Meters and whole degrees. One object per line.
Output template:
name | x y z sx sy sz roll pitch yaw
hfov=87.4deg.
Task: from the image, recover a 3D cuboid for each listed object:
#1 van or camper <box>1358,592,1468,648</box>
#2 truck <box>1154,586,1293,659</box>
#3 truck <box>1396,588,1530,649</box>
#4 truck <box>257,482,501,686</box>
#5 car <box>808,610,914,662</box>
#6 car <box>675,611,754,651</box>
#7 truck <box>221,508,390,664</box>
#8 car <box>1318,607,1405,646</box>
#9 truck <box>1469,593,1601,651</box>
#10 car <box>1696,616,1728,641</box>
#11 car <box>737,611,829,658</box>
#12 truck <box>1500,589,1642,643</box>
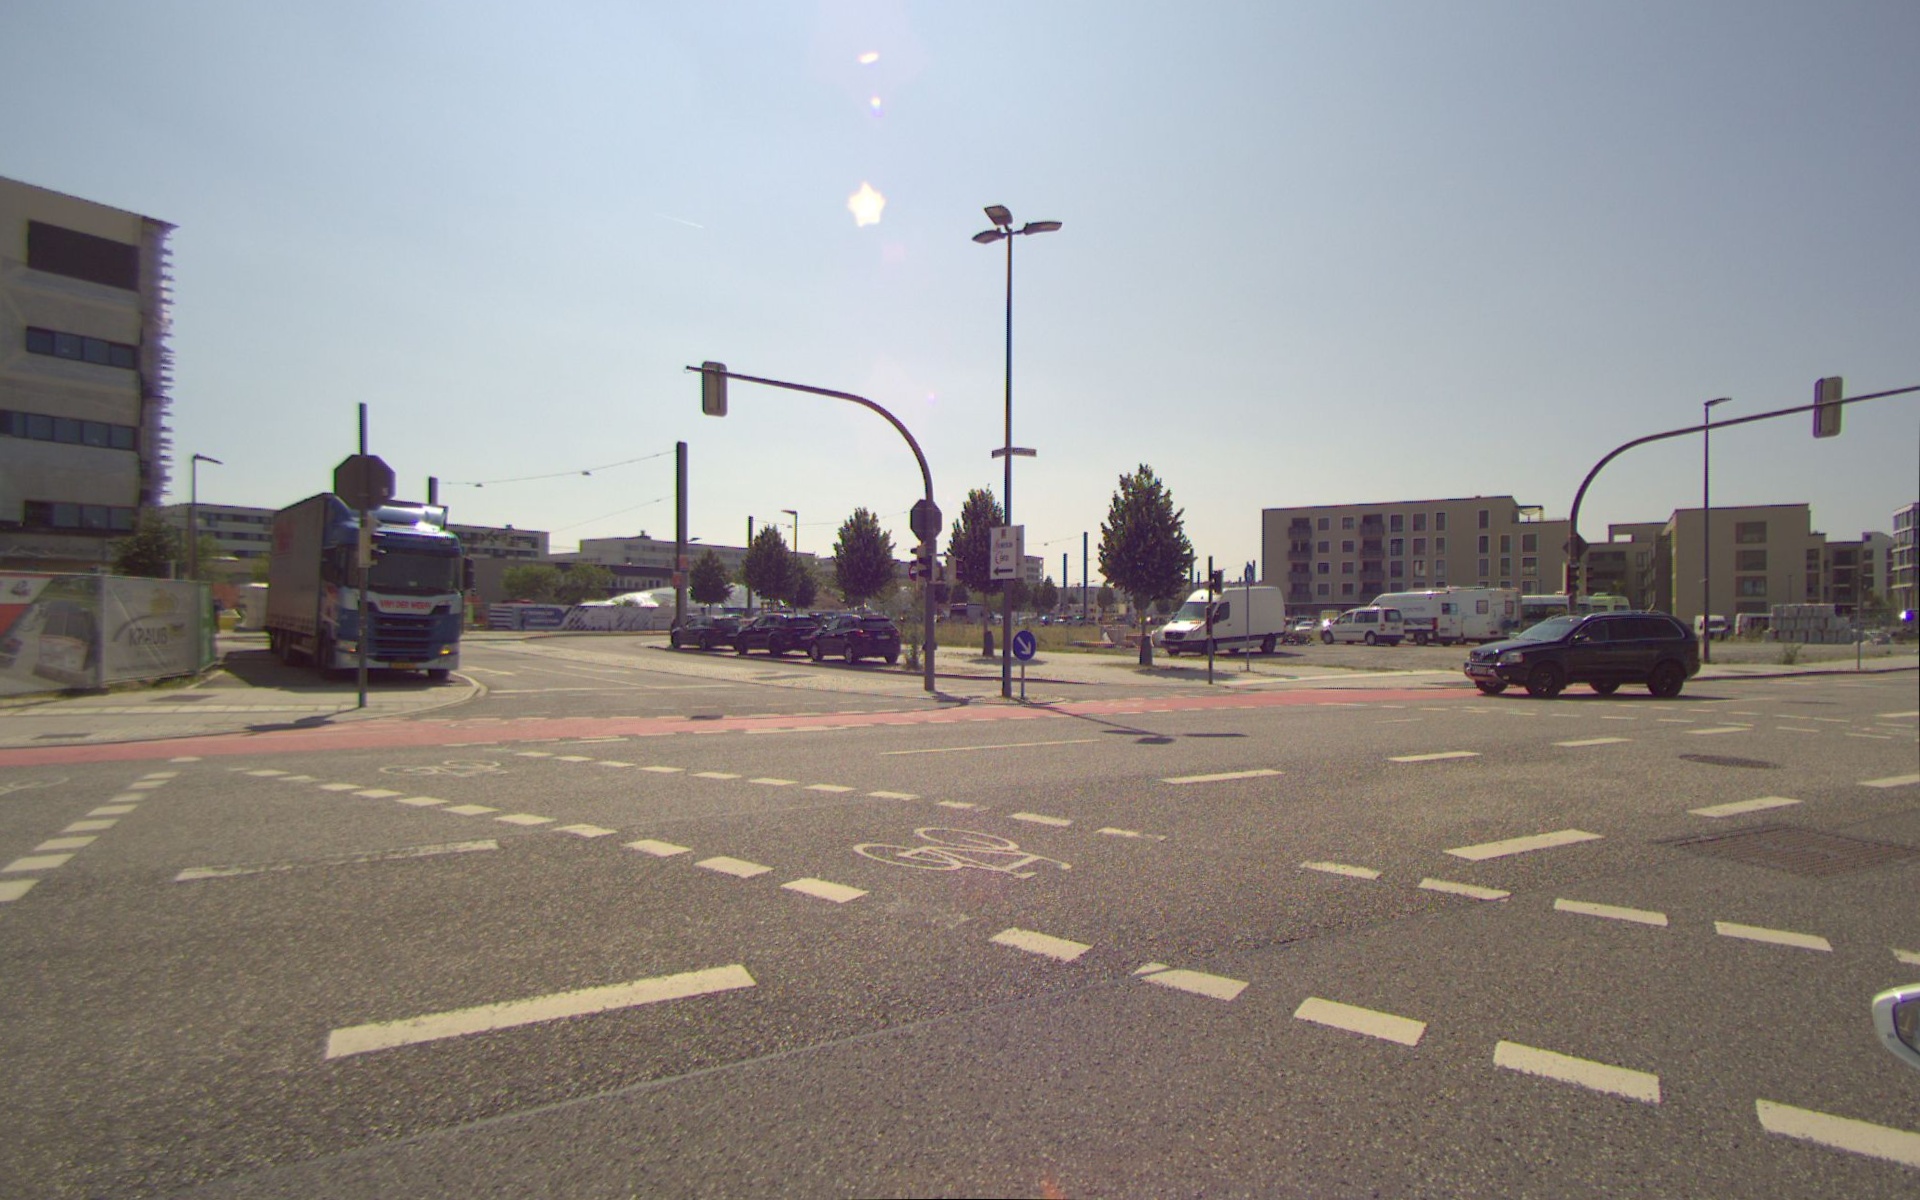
van or camper | 22.967 0.970 51.151 2.228 2.697 4.886 0 0 -24
truck | 10.520 0.900 39.842 5.889 2.690 2.151 1 -1 -37
truck | 26.562 0.902 53.394 2.534 2.940 6.130 2 1 -23
truck | -15.092 -0.420 25.460 3.277 4.121 10.848 2 0 -41
car | -3.531 1.233 35.258 1.865 1.662 3.955 1 0 -39
car | -10.729 1.313 43.748 1.864 1.551 3.858 -2 2 -39
truck | -21.858 -0.478 33.153 3.318 4.332 10.821 2 0 -40
car | 19.740 1.271 49.477 1.636 1.782 3.851 0 0 -27
truck | 31.230 1.130 54.808 2.534 2.862 5.821 2 1 -23
car | 72.742 2.704 97.189 1.965 2.271 3.992 1 0 30
car | -7.009 1.315 39.528 1.865 1.662 3.955 1 0 -39
truck | 34.298 0.848 56.670 2.566 2.863 6.619 1 0 -23
